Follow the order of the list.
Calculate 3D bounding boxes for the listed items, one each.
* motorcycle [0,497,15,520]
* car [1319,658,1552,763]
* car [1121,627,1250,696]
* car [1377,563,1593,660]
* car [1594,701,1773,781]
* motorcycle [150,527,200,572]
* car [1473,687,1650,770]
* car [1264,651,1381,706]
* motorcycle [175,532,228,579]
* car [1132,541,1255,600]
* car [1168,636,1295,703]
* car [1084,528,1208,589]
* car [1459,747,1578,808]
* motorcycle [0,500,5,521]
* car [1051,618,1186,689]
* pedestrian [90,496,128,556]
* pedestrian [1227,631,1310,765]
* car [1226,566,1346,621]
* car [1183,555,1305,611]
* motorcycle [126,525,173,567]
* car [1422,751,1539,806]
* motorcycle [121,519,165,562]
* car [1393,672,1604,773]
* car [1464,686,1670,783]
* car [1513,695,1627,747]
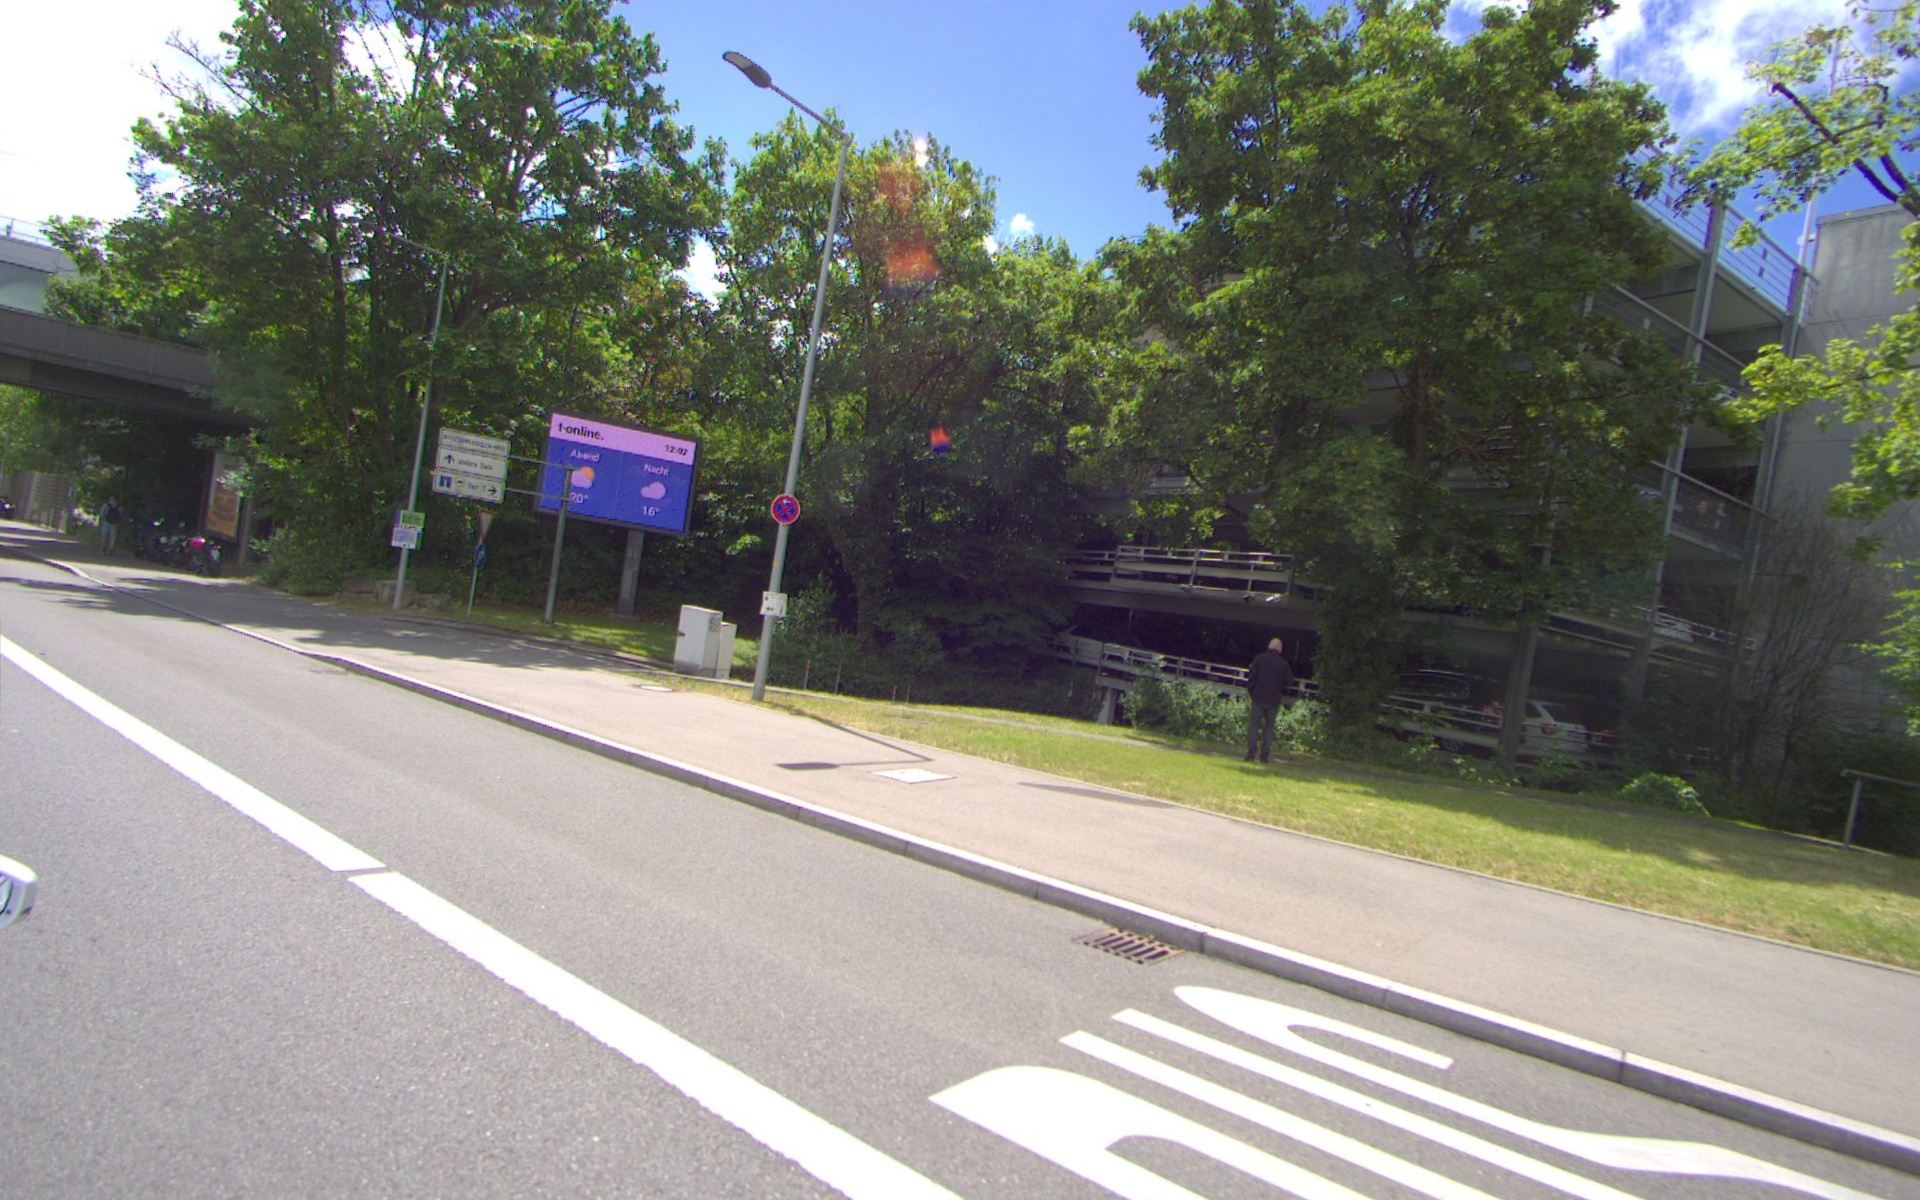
[{"bbox_3d":[-49.177,-4.725,51.610,2.590,1.042,0.563,8,1,39],"label":"motorcycle"},{"bbox_3d":[10.394,2.383,22.337,1.640,1.613,4.357,9,-2,-31],"label":"car"},{"bbox_3d":[7.139,1.940,32.231,1.760,1.489,3.766,10,0,-31],"label":"car"},{"bbox_3d":[12.354,0.219,23.919,1.919,1.814,3.967,10,-2,-32],"label":"car"},{"bbox_3d":[19.994,3.862,27.933,1.617,1.541,3.594,9,-2,-31],"label":"car"},{"bbox_3d":[-23.115,-1.499,29.617,1.987,1.123,0.547,6,-1,36],"label":"motorcycle"},{"bbox_3d":[15.879,3.364,26.719,1.617,1.541,3.594,9,-2,-31],"label":"car"},{"bbox_3d":[12.871,2.775,35.902,1.617,1.447,3.594,9,-2,-31],"label":"car"},{"bbox_3d":[-21.182,-1.249,28.069,1.987,1.123,0.547,6,-1,36],"label":"motorcycle"},{"bbox_3d":[7.356,-0.953,31.951,1.617,1.541,3.594,9,-2,-31],"label":"car"},{"bbox_3d":[8.958,2.277,33.487,1.760,1.489,3.766,10,0,-31],"label":"car"},{"bbox_3d":[5.630,-1.277,30.792,1.617,1.541,3.594,9,-2,-31],"label":"car"},{"bbox_3d":[24.151,7.666,43.633,1.866,1.792,3.970,9,-2,-30],"label":"car"},{"bbox_3d":[-51.427,-4.813,53.451,2.590,1.042,0.563,8,1,39],"label":"motorcycle"},{"bbox_3d":[4.866,1.611,31.431,1.760,1.489,4.104,10,0,-31],"label":"car"},{"bbox_3d":[-28.187,-2.444,33.332,0.859,1.880,0.623,6,-1,38],"label":"pedestrian"},{"bbox_3d":[4.386,1.376,14.357,0.759,1.739,0.590,11,2,12],"label":"pedestrian"},{"bbox_3d":[11.095,-0.253,34.464,1.617,1.541,3.594,9,-2,-31],"label":"car"},{"bbox_3d":[9.303,-0.588,33.213,1.617,1.541,3.594,9,-2,-31],"label":"car"},{"bbox_3d":[-25.008,-1.668,31.023,1.987,1.123,0.547,6,-1,36],"label":"motorcycle"},{"bbox_3d":[21.546,7.396,41.794,1.740,1.457,3.857,9,-2,-31],"label":"car"},{"bbox_3d":[-26.574,-1.939,32.718,1.874,1.213,0.547,6,-1,36],"label":"motorcycle"},{"bbox_3d":[12.325,2.773,23.256,1.760,1.489,3.766,10,0,-31],"label":"car"},{"bbox_3d":[14.690,3.222,24.542,1.760,1.489,3.766,10,0,-31],"label":"car"},{"bbox_3d":[27.696,5.484,45.762,1.740,1.657,3.941,9,-2,-31],"label":"car"}]
